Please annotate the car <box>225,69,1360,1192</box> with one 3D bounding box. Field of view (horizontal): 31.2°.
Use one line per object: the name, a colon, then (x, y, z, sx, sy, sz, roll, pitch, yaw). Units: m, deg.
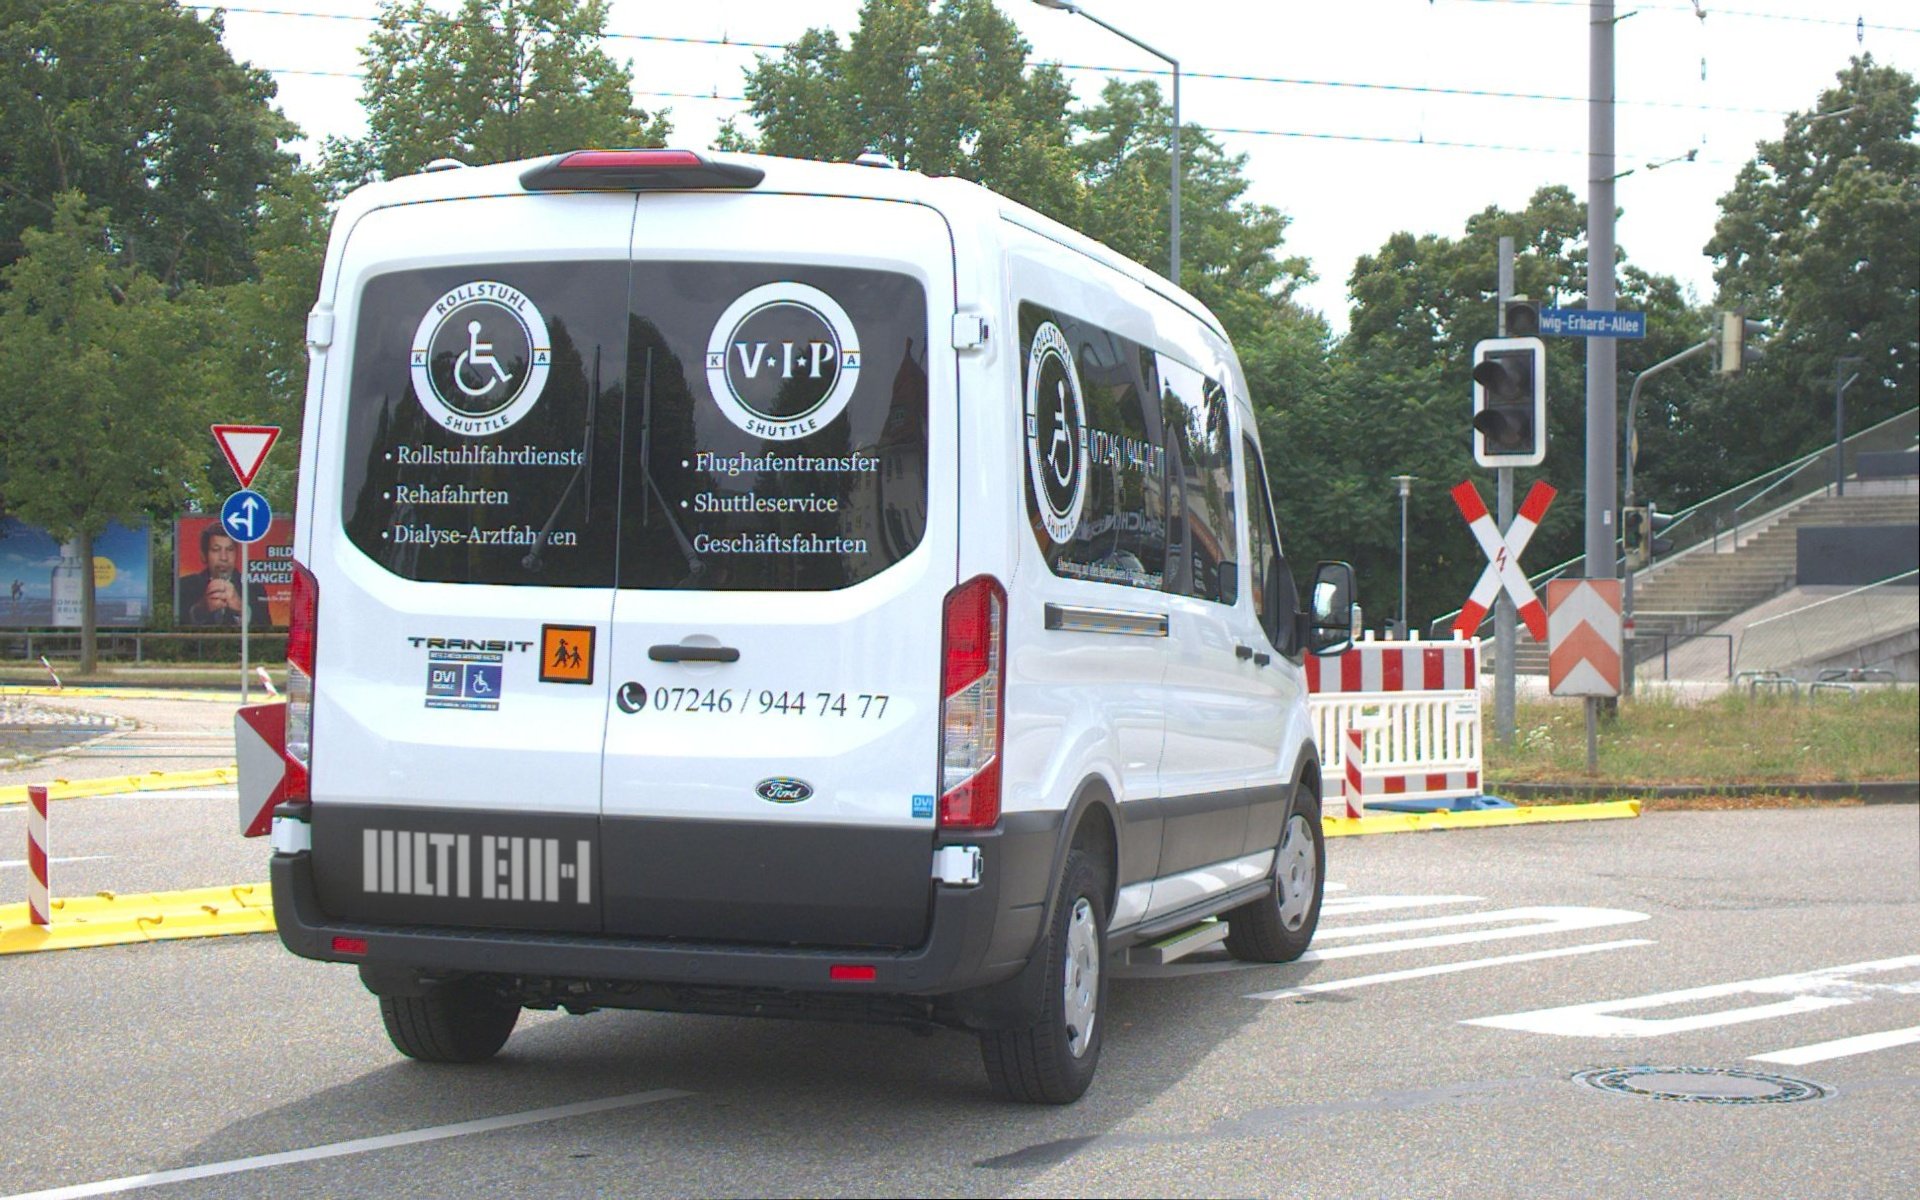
car: (-0.141, 0.062, 11.223, 2.128, 2.688, 5.628, 0, 0, 14)
